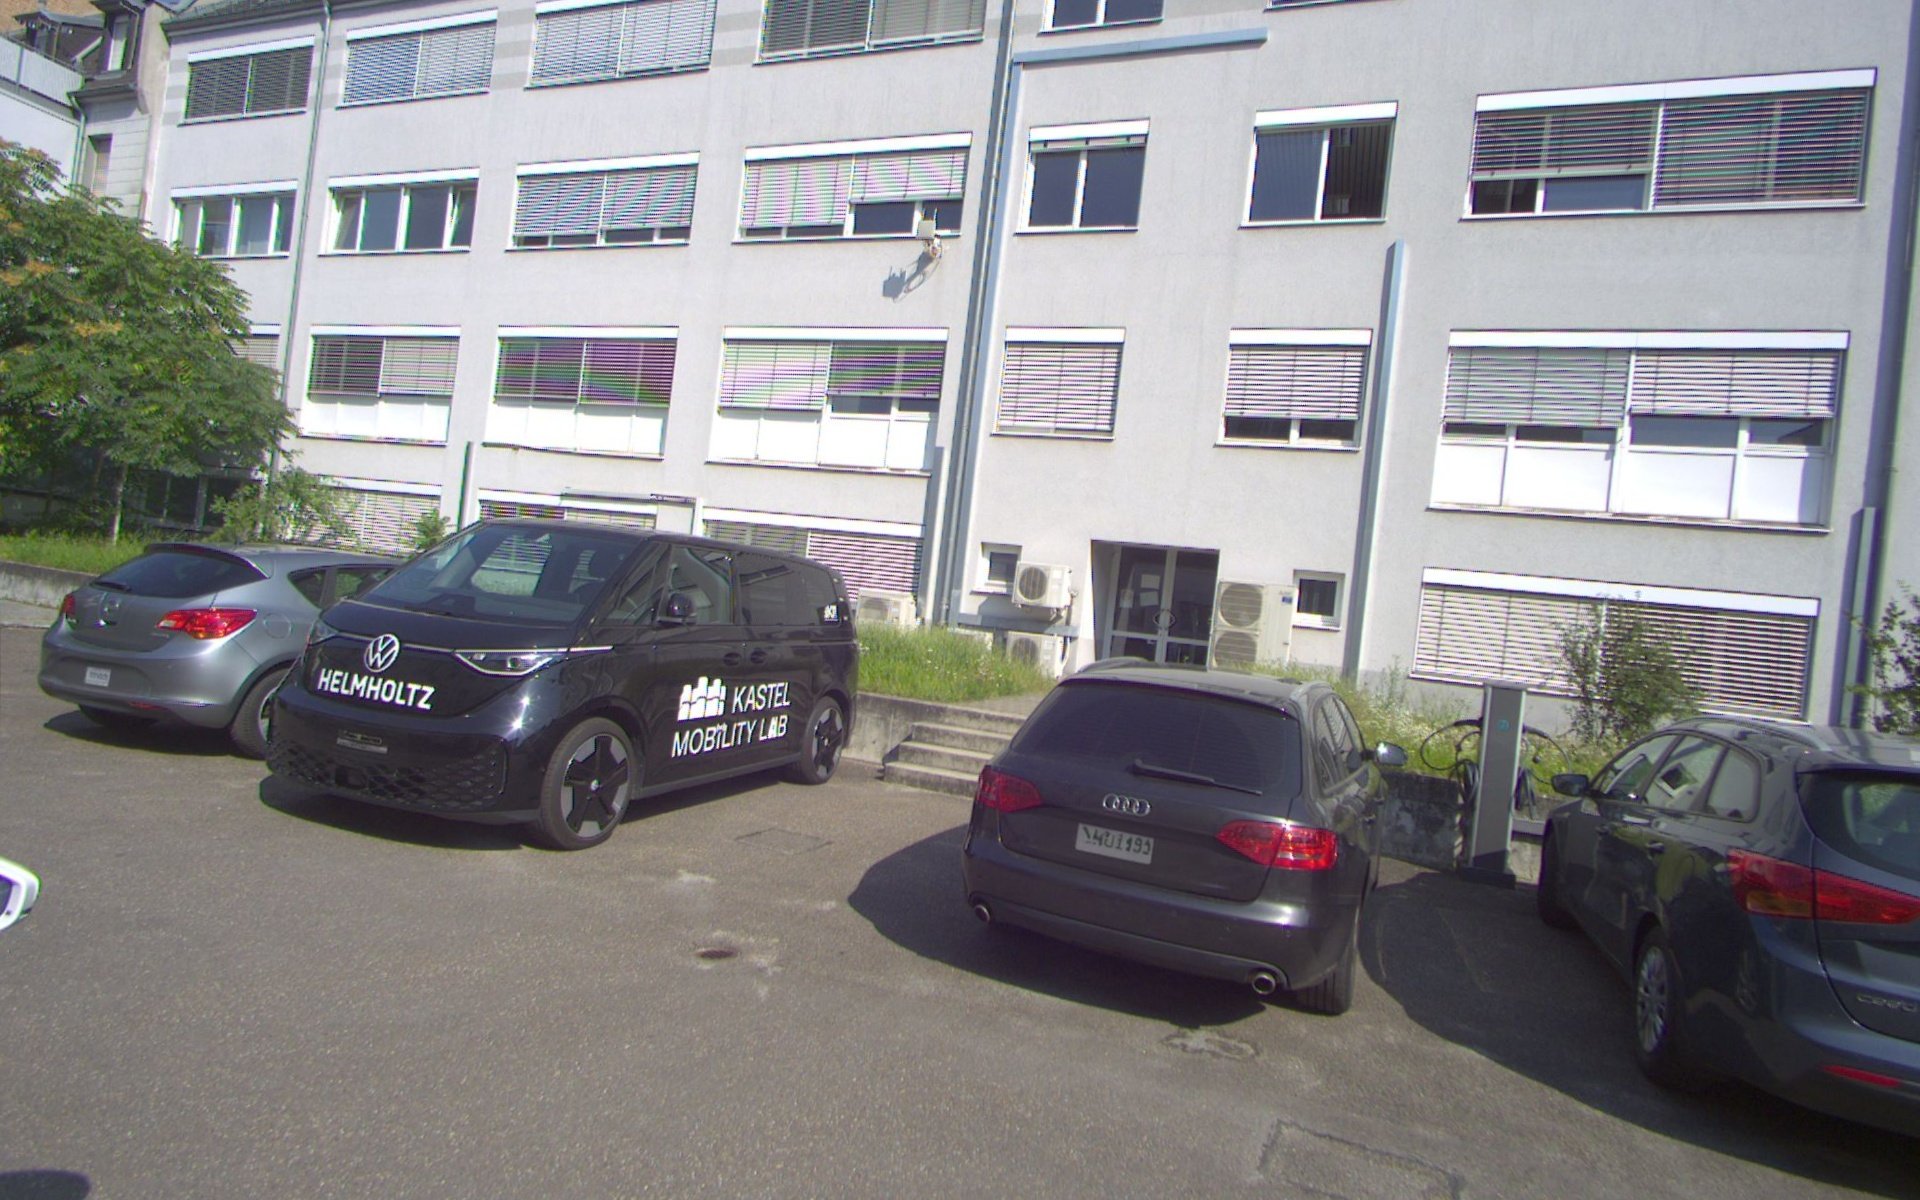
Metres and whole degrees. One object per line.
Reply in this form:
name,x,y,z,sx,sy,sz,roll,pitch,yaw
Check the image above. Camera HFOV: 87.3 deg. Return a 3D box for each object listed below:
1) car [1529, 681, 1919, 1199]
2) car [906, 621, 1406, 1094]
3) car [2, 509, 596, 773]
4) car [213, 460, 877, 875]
car,4.047,1.260,4.773,1.710,1.495,4.060,7,-1,23
car,1.503,1.048,5.750,1.660,1.454,4.244,7,-1,26
car,-4.953,0.330,8.298,1.631,1.483,3.912,7,-1,14
car,-2.394,0.410,7.220,1.879,1.881,4.351,7,-1,18
